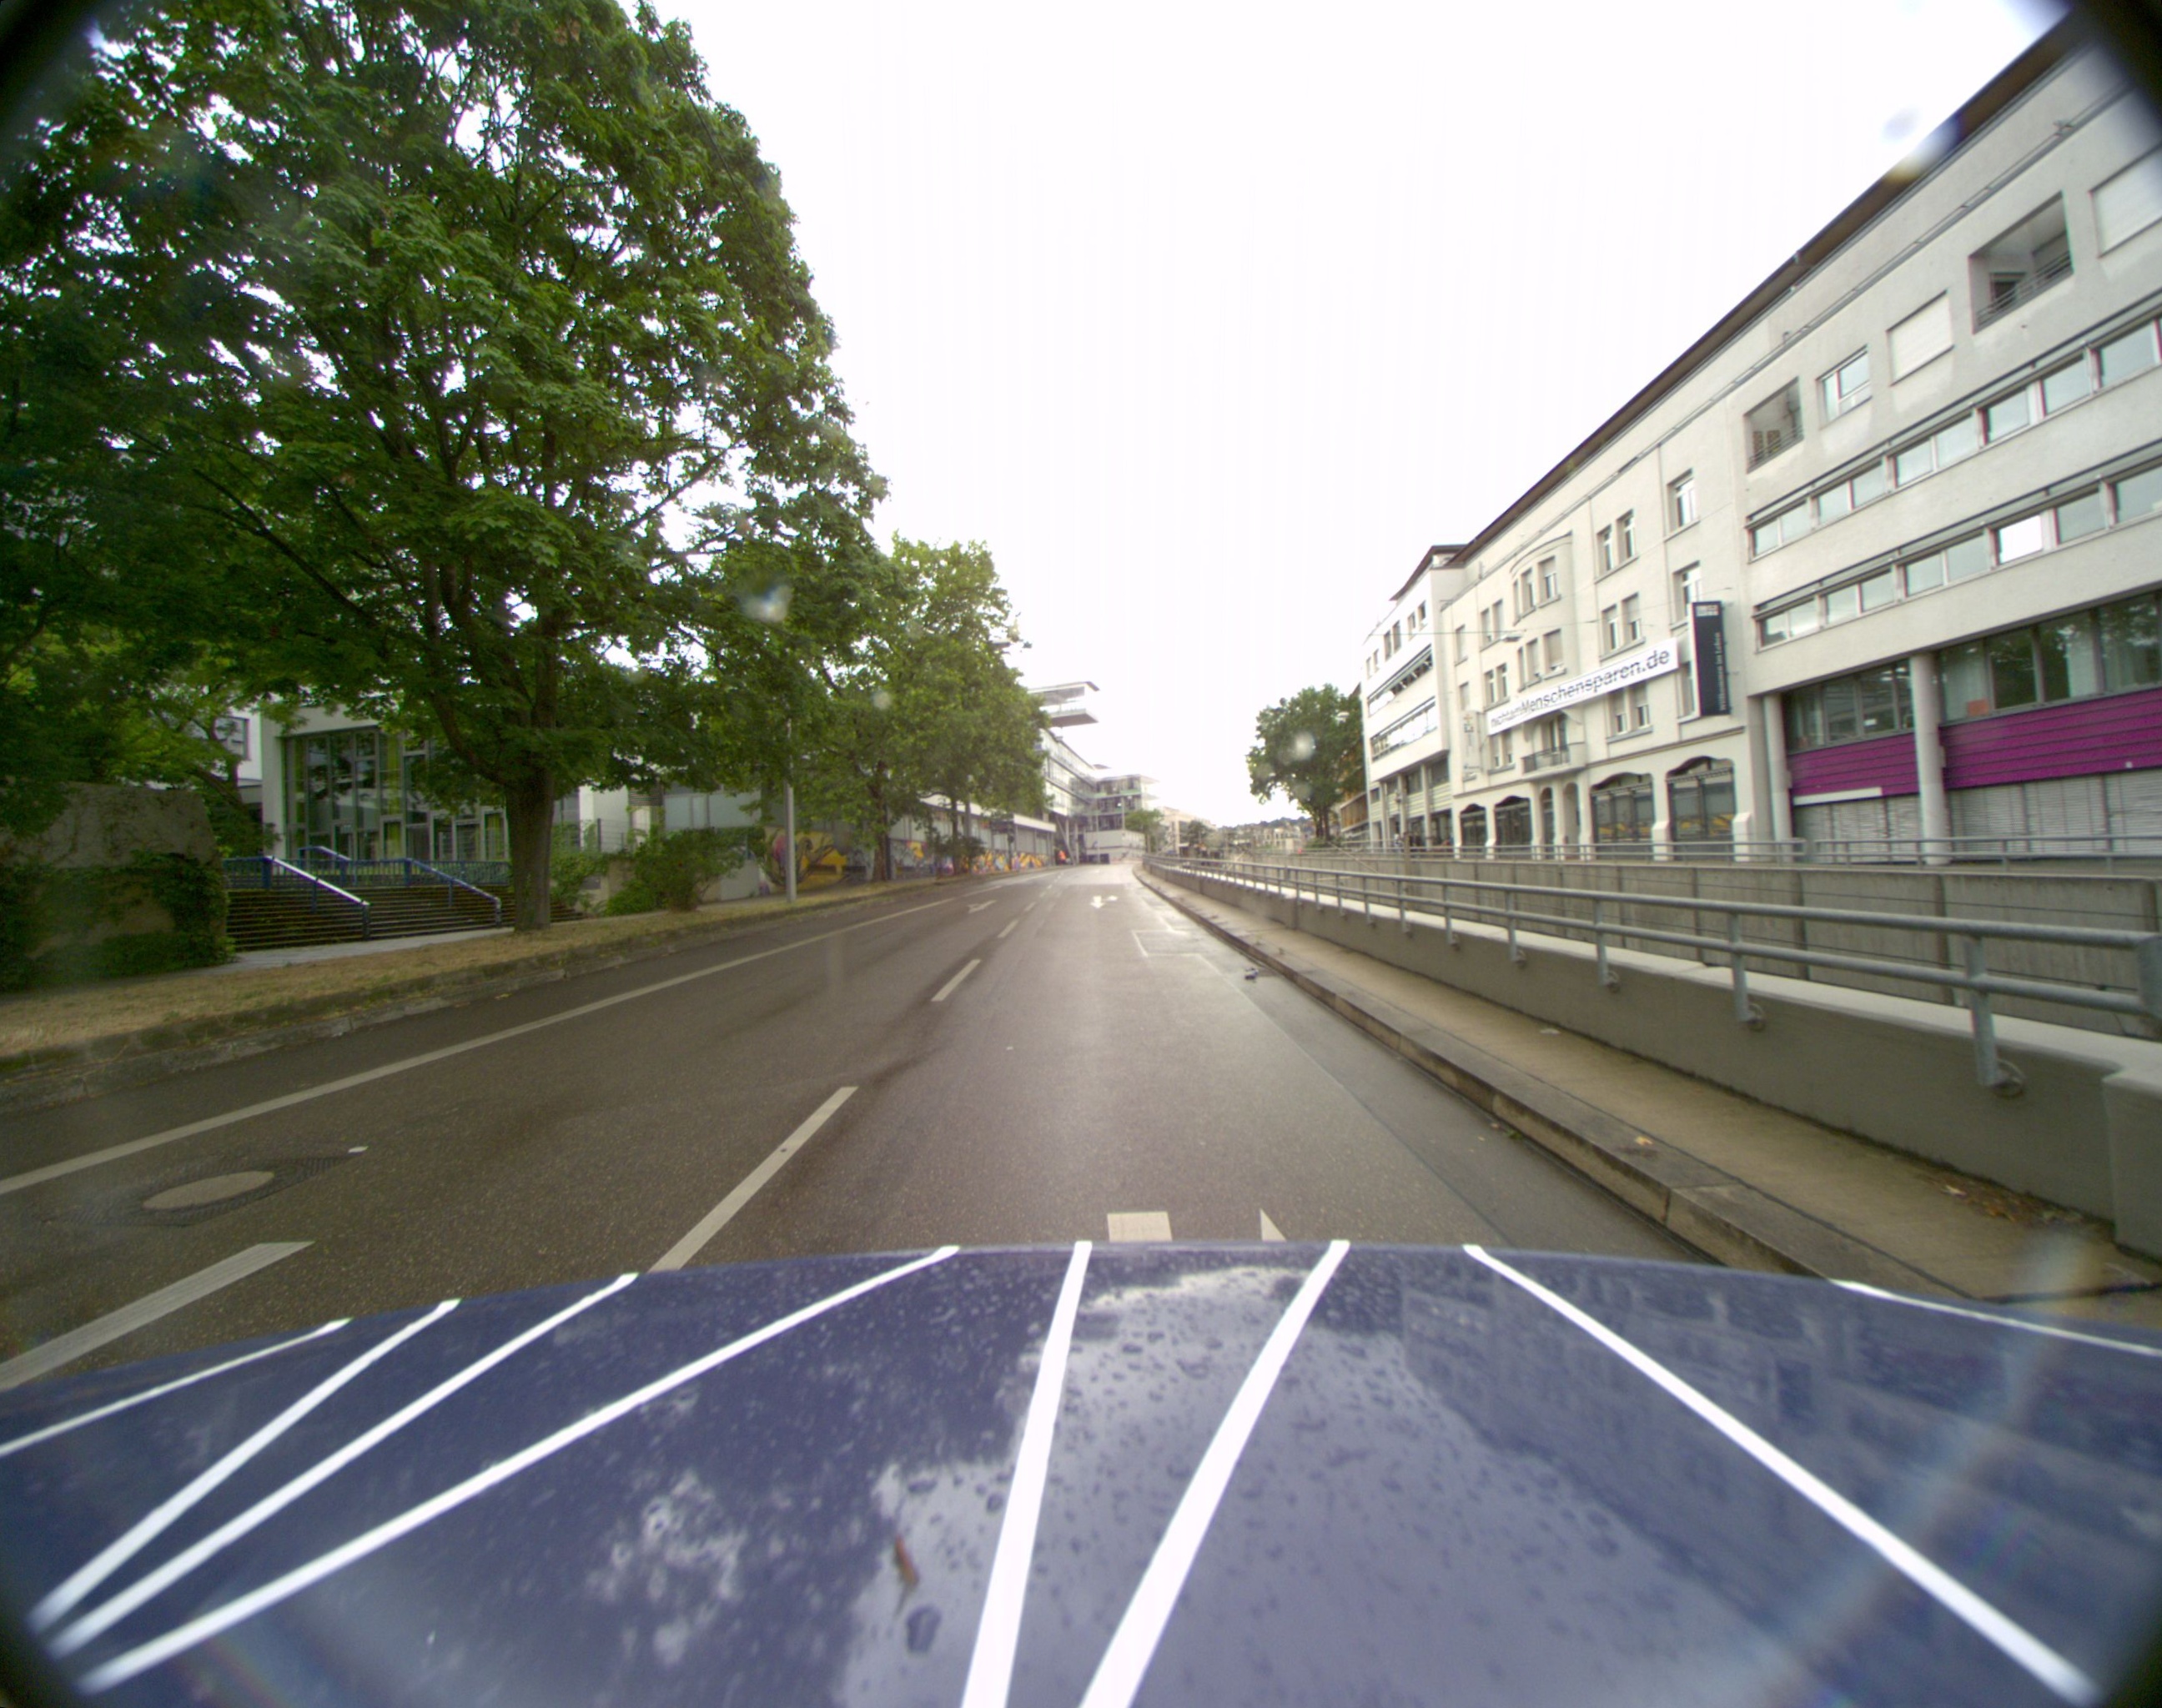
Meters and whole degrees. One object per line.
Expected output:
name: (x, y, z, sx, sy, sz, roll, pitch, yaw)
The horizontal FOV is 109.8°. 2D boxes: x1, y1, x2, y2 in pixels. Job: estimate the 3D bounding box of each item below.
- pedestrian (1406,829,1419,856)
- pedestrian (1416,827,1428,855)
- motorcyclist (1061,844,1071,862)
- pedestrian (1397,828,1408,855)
pedestrian: (22.473, -0.794, 51.563, 0.547, 1.792, 0.470, -4, 1, -7)
pedestrian: (22.565, -0.869, 50.301, 0.470, 1.792, 0.547, -4, 1, 3)
motorcyclist: (-1.760, -0.118, 87.587, 1.000, 2.002, 0.755, -4, 1, 3)
pedestrian: (21.775, -0.864, 51.404, 0.469, 1.792, 0.548, -4, 1, 8)
